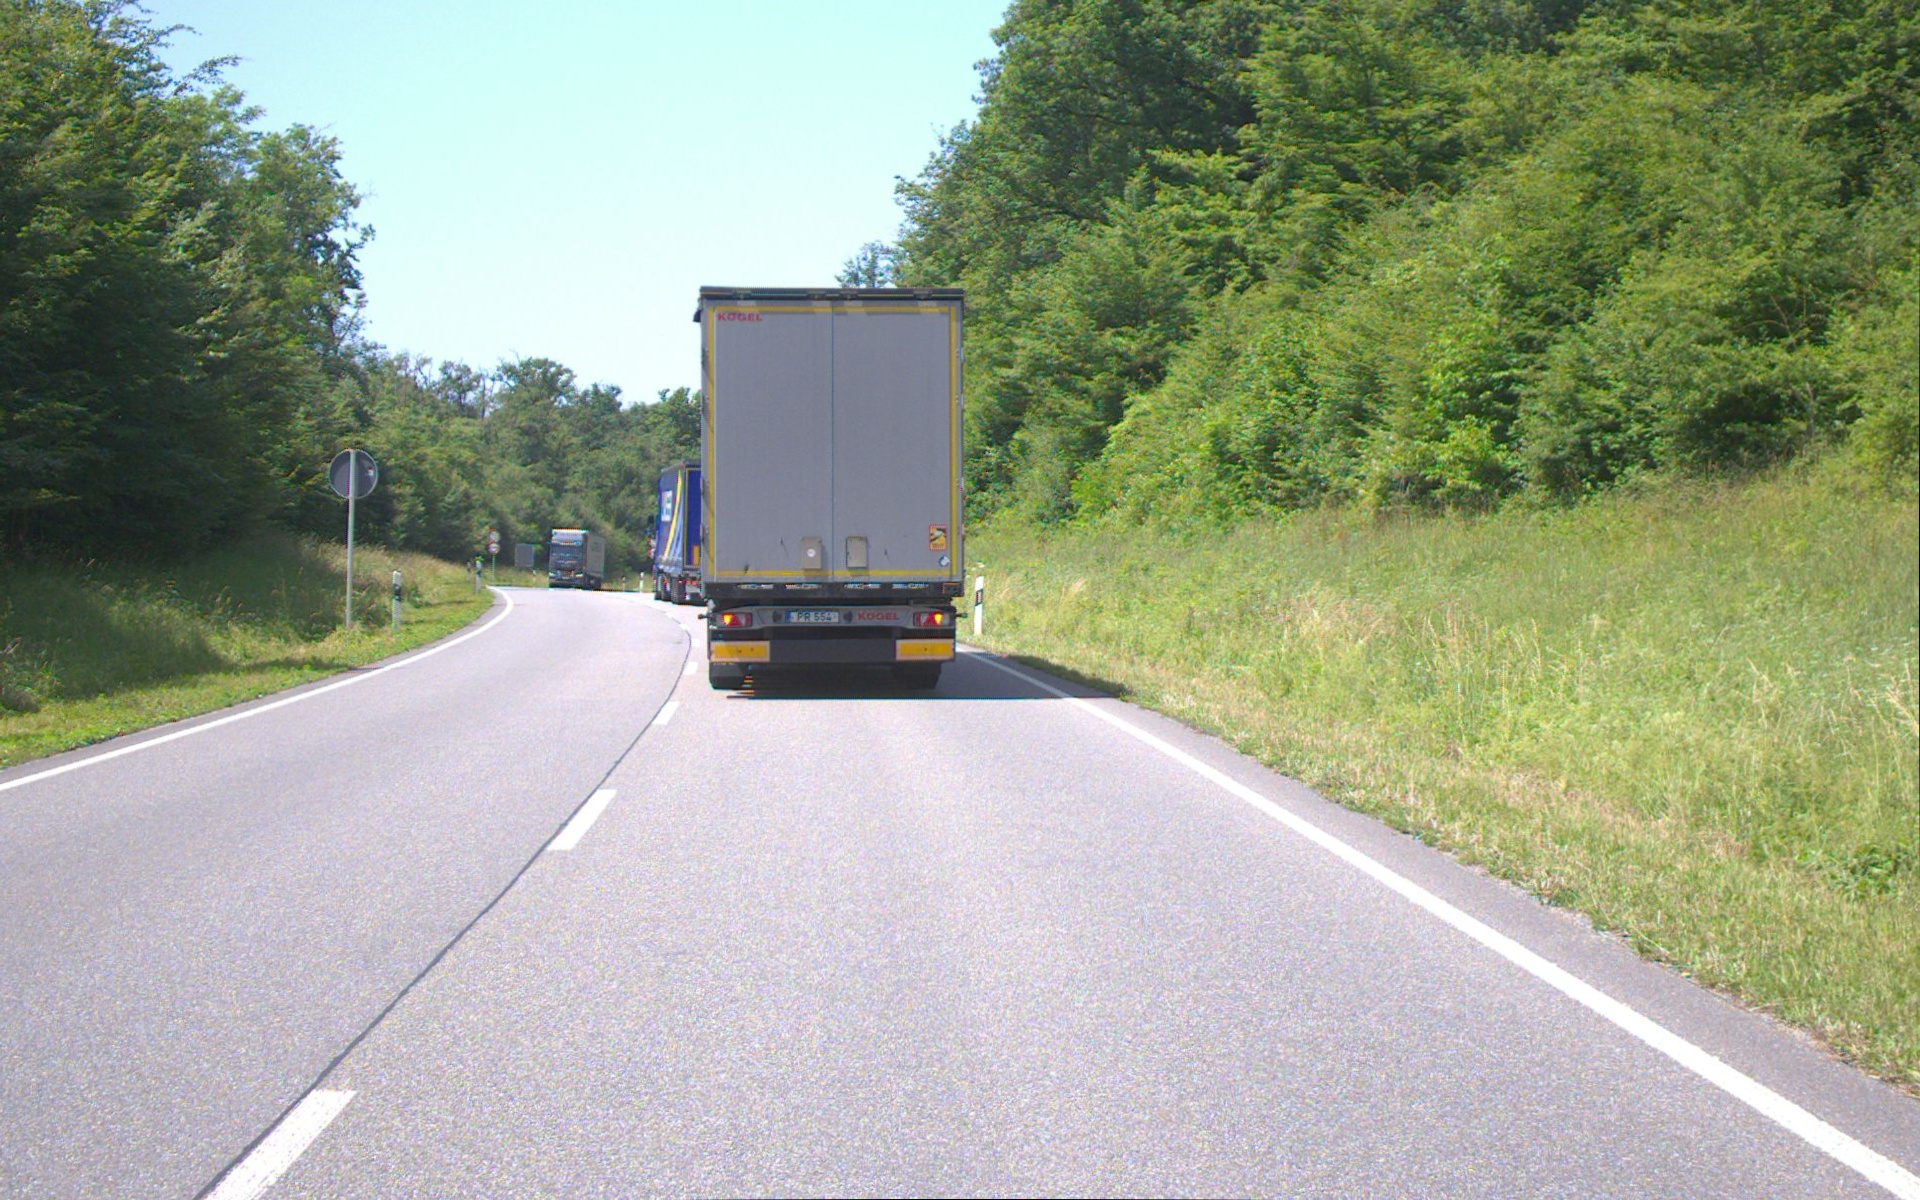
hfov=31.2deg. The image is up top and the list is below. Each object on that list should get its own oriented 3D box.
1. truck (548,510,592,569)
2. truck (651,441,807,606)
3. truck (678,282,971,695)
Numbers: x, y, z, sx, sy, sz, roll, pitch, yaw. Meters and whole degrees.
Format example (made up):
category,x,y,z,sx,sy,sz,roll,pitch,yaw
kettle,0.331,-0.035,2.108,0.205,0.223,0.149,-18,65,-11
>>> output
category,x,y,z,sx,sy,sz,roll,pitch,yaw
truck,-28.332,-4.408,249.686,2.922,4.201,5.344,-1,1,-8
truck,-6.944,-2.230,100.745,3.792,4.358,14.923,2,1,-6
truck,-1.582,-1.172,39.174,2.761,3.933,12.199,1,1,-3
